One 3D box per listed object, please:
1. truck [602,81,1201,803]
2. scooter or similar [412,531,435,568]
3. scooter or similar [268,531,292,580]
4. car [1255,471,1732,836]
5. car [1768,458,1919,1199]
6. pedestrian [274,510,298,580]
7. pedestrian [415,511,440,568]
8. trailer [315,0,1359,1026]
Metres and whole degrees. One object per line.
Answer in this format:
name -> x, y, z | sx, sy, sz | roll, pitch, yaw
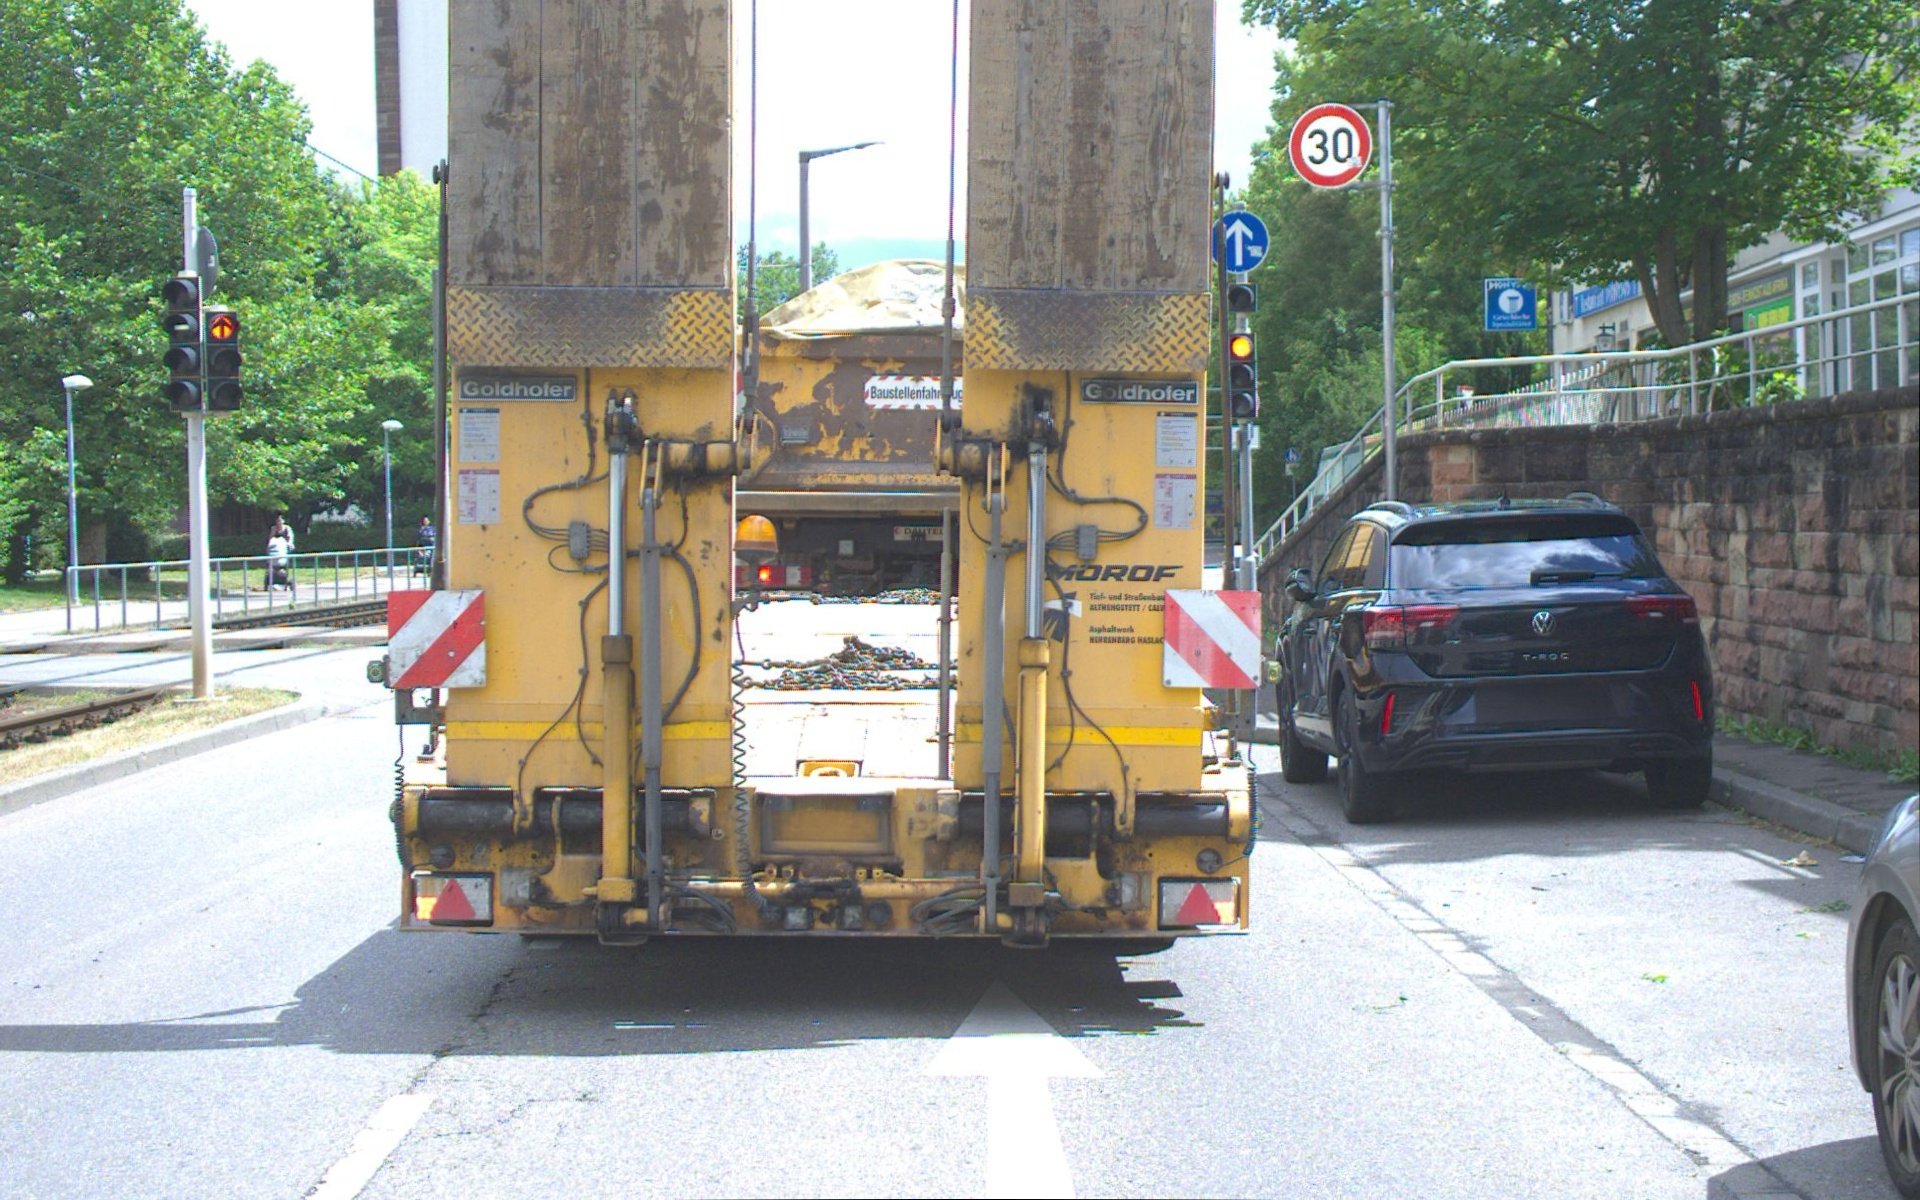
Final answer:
truck -> -0.294, -0.849, 19.573 | 2.942, 3.560, 4.877 | -1, 1, 0
scooter or similar -> -14.227, -1.338, 91.098 | 0.505, 0.968, 0.646 | 1, 1, -1
scooter or similar -> -14.767, -0.971, 74.658 | 0.338, 1.054, 0.687 | -1, 1, 3
car -> 2.657, 0.203, 17.998 | 1.851, 1.633, 4.000 | -2, 1, 0
car -> 2.873, 0.513, 6.000 | 1.789, 1.612, 4.249 | -2, 1, -1
pedestrian -> -14.765, -1.201, 75.318 | 0.348, 1.531, 0.557 | -1, 1, 3
pedestrian -> -14.215, -1.618, 91.739 | 0.563, 1.508, 0.646 | 1, 1, -1
trailer -> -0.320, -0.705, 14.148 | 2.945, 3.589, 8.684 | -1, 1, 0
